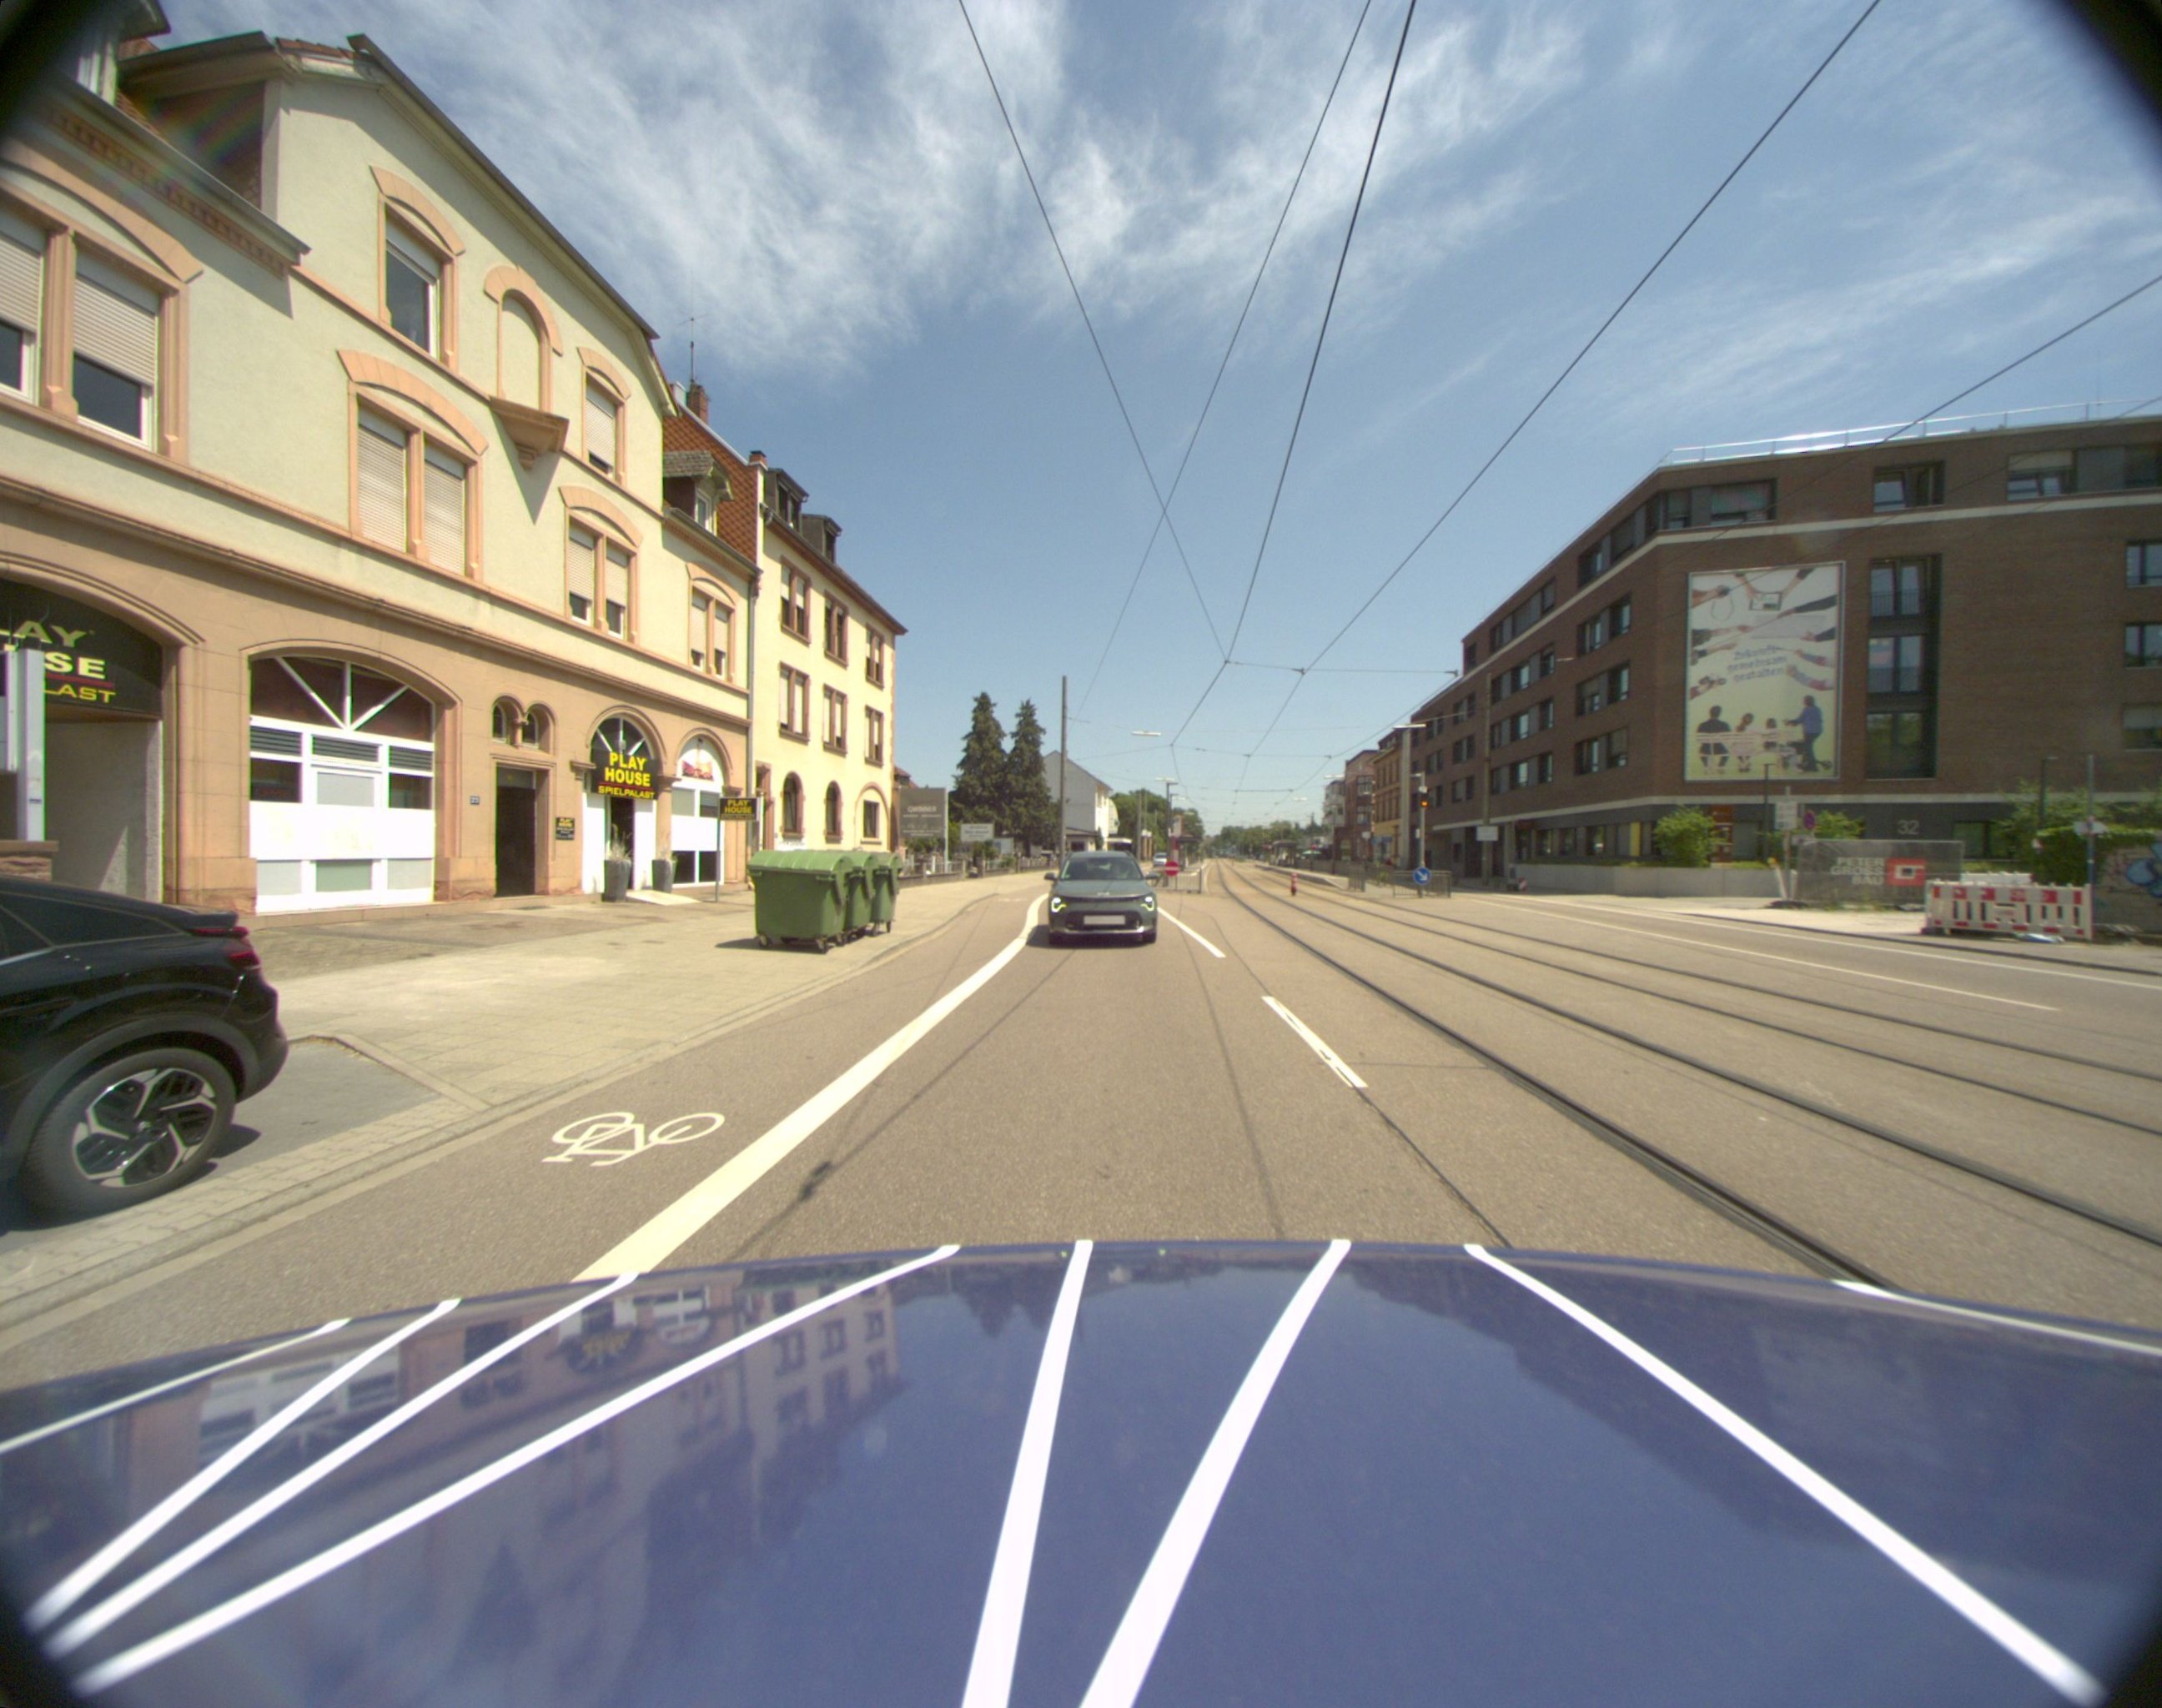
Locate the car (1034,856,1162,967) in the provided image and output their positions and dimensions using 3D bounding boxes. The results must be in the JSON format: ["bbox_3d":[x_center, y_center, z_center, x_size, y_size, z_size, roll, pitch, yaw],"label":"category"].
[{"bbox_3d":[0.368,0.819,13.092,1.827,1.546,4.488,0,0,3],"label":"car"}]

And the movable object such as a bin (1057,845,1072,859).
[{"bbox_3d":[-1.779,-0.186,81.775,1.389,1.472,1.152,0,0,11],"label":"movable object such as a bin"}]

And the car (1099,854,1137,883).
[{"bbox_3d":[2.188,0.810,43.813,1.747,1.546,4.490,-1,0,9],"label":"car"}]

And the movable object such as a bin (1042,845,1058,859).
[{"bbox_3d":[-3.377,-0.240,82.424,1.389,1.472,1.152,0,0,14],"label":"movable object such as a bin"}]

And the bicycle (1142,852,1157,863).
[{"bbox_3d":[10.867,0.599,121.086,2.052,1.580,0.889,4,1,-21],"label":"bicycle"}]

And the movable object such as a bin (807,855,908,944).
[{"bbox_3d":[-3.922,0.769,13.461,1.395,1.446,1.139,3,1,-1],"label":"movable object such as a bin"}]

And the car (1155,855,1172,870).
[{"bbox_3d":[9.003,0.902,83.173,1.748,1.546,4.489,-1,0,5],"label":"car"}]

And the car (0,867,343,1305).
[{"bbox_3d":[-4.955,0.897,1.868,1.776,1.539,4.468,2,1,3],"label":"car"}]

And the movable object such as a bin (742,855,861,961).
[{"bbox_3d":[-4.111,0.767,11.279,1.327,1.446,1.057,3,1,-1],"label":"movable object such as a bin"}]

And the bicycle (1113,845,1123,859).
[{"bbox_3d":[5.098,-0.224,104.039,0.799,1.889,1.961,3,0,17],"label":"bicycle"}]

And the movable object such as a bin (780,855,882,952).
[{"bbox_3d":[-4.034,0.769,12.358,1.250,1.446,1.057,3,1,-1],"label":"movable object such as a bin"}]

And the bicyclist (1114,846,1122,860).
[{"bbox_3d":[5.034,-0.188,103.872,0.790,1.864,0.889,3,1,17],"label":"bicyclist"}]

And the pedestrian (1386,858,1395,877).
[{"bbox_3d":[27.437,1.196,67.357,0.604,1.586,0.715,1,1,8],"label":"pedestrian"}]
